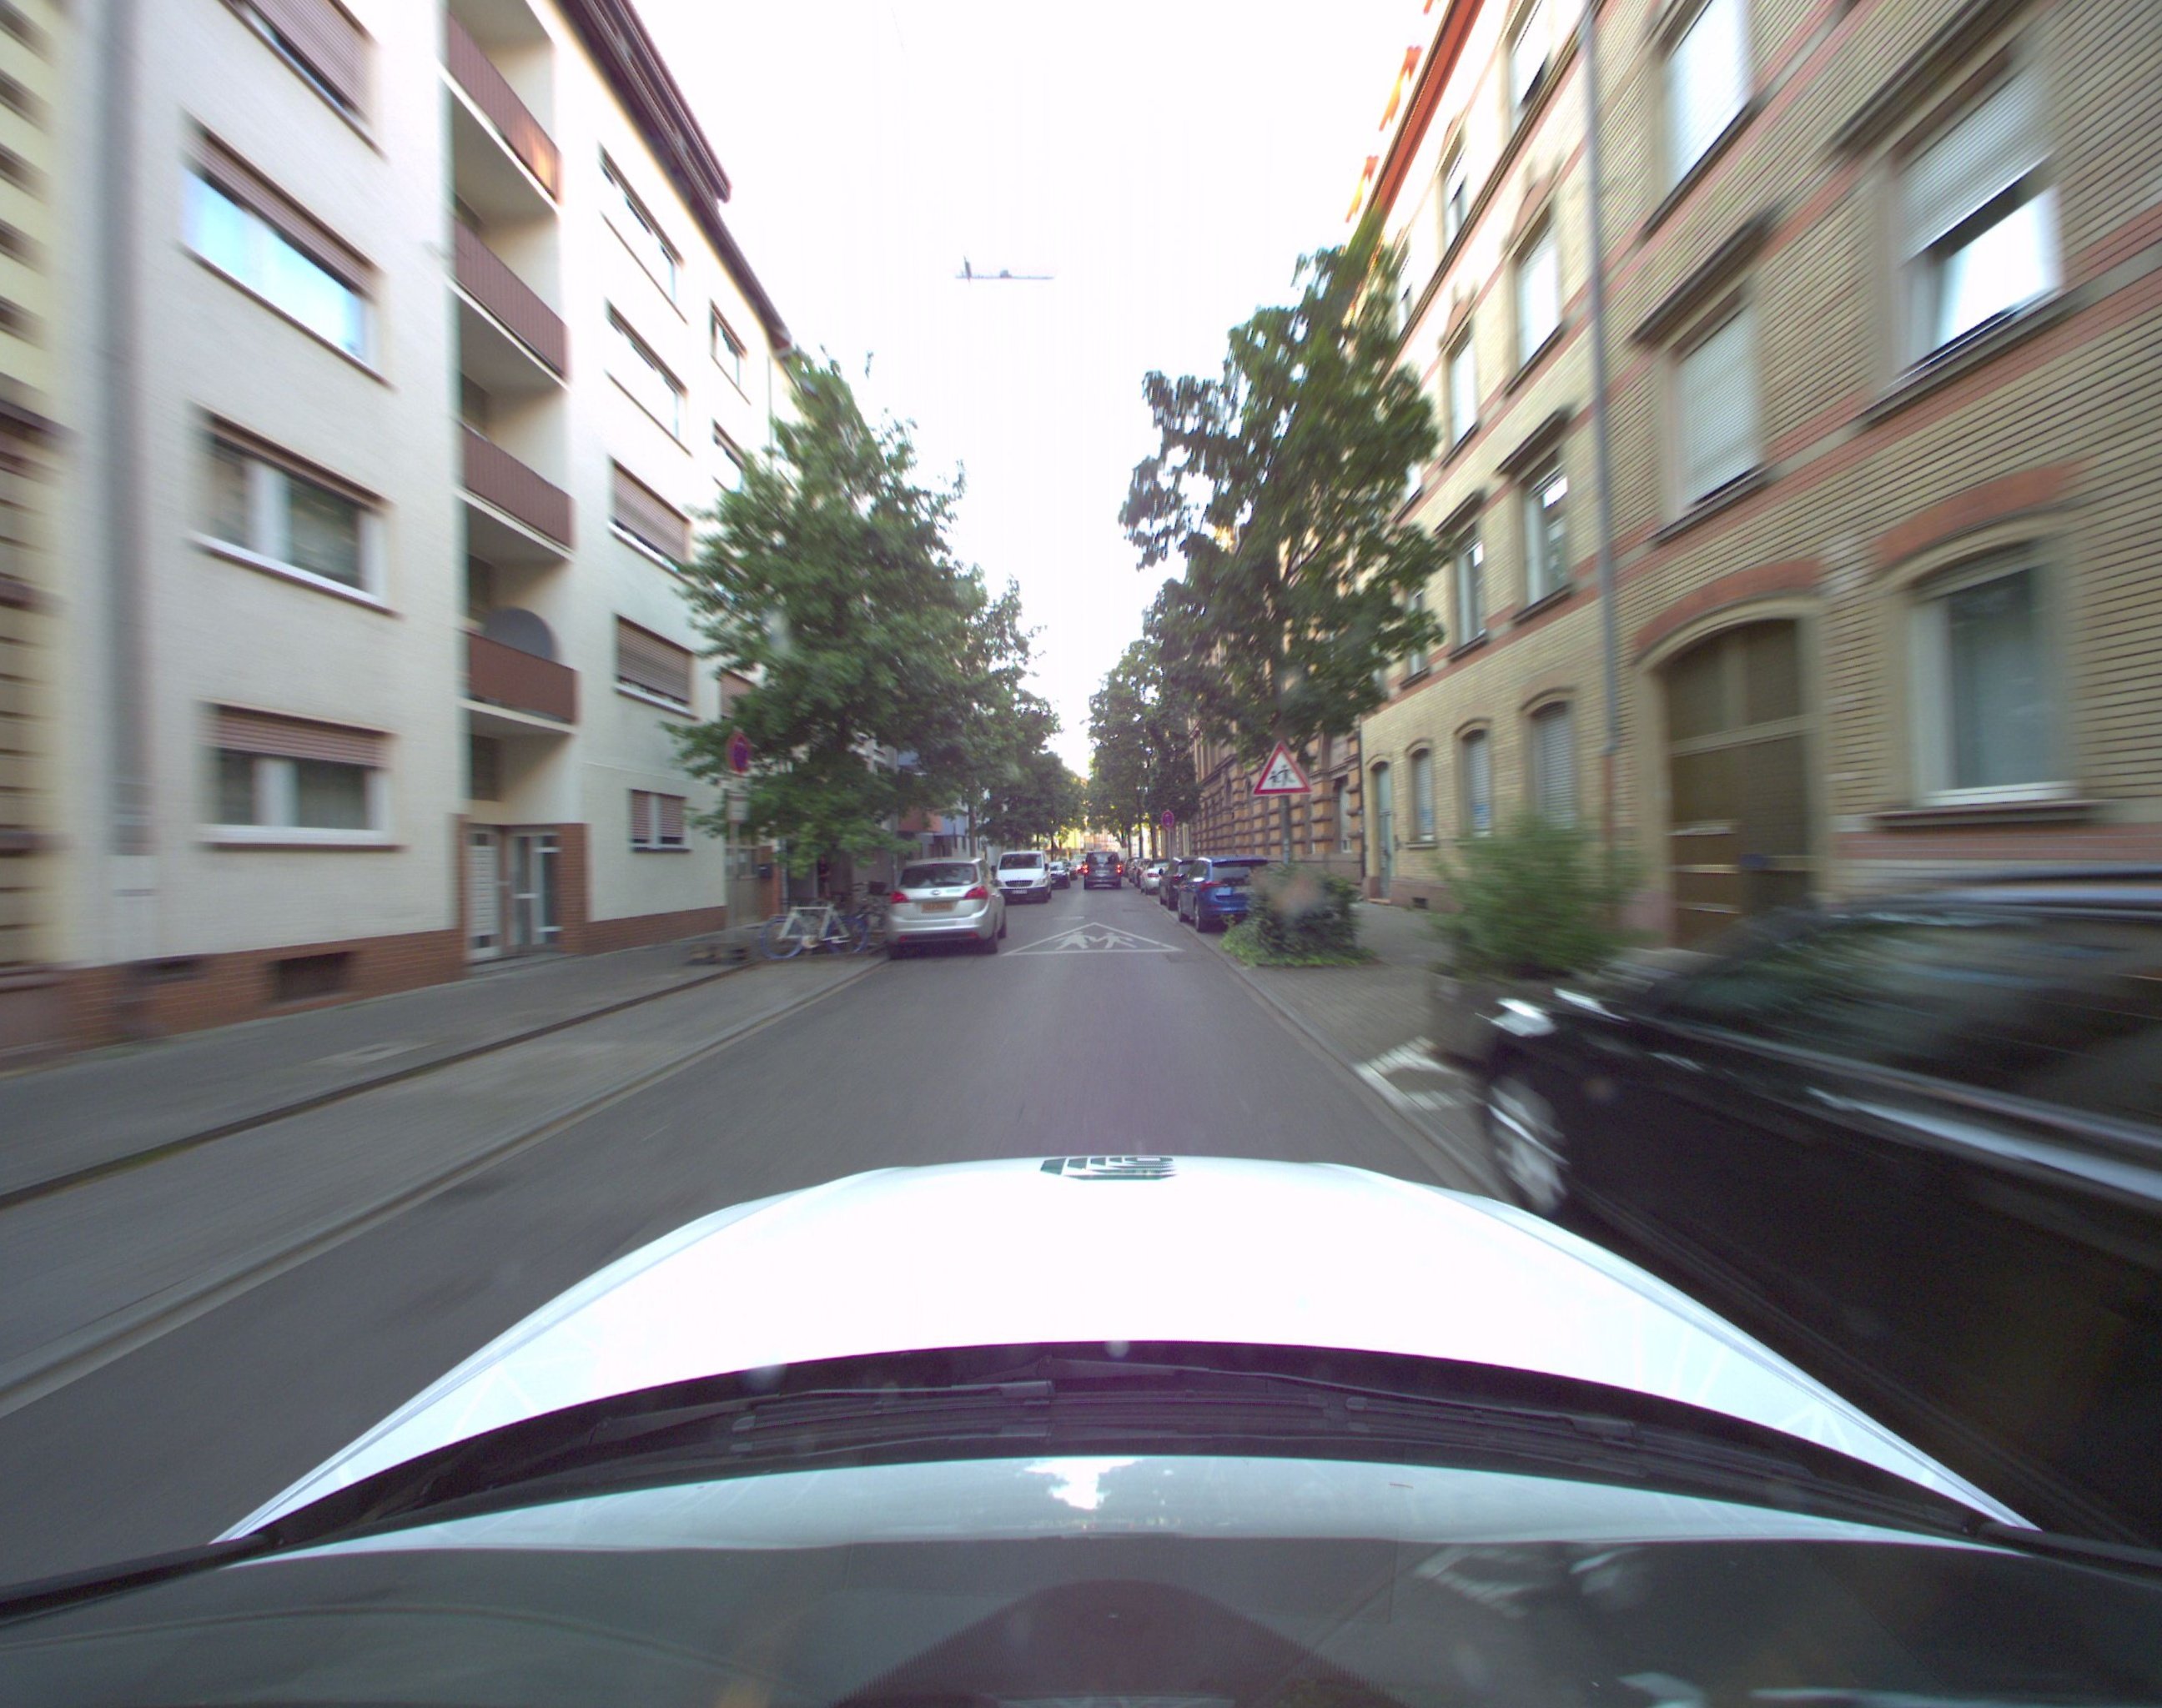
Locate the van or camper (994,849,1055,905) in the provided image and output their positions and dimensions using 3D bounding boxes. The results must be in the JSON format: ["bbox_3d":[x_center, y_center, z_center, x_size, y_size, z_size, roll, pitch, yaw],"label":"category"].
[{"bbox_3d":[-2.009,0.792,30.060,1.871,1.843,4.751,-2,0,0],"label":"van or camper"}]

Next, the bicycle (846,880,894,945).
[{"bbox_3d":[-3.923,1.062,15.226,0.418,1.103,1.665,-1,-1,1],"label":"bicycle"}]

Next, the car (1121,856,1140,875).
[{"bbox_3d":[4.225,0.938,69.181,1.544,1.496,3.614,-2,0,4],"label":"car"}]

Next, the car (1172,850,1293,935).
[{"bbox_3d":[2.987,0.698,16.859,1.623,1.466,4.244,-2,0,-1],"label":"car"}]

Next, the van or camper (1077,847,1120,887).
[{"bbox_3d":[0.951,0.635,41.749,2.027,1.897,4.274,-2,0,3],"label":"van or camper"}]

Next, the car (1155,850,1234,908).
[{"bbox_3d":[3.178,0.674,23.585,1.706,1.478,4.192,-2,0,1],"label":"car"}]

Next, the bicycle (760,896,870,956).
[{"bbox_3d":[-4.463,1.189,13.689,1.709,0.898,0.380,-1,-1,-29],"label":"bicycle"}]

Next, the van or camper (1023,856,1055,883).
[{"bbox_3d":[-2.862,1.023,56.569,1.925,1.760,4.465,1,0,0],"label":"van or camper"}]

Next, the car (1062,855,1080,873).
[{"bbox_3d":[-0.941,0.933,78.402,1.625,1.430,3.543,-3,3,0],"label":"car"}]

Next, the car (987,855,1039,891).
[{"bbox_3d":[-3.235,0.887,39.586,1.986,1.646,4.923,0,0,1],"label":"car"}]

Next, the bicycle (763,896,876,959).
[{"bbox_3d":[-4.254,1.179,13.285,1.709,0.907,0.380,-1,-1,-29],"label":"bicycle"}]

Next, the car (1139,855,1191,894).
[{"bbox_3d":[3.383,0.788,33.634,1.688,1.401,4.646,-3,0,1],"label":"car"}]

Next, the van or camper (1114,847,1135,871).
[{"bbox_3d":[4.924,0.525,92.893,1.987,2.599,5.423,-2,0,0],"label":"van or camper"}]

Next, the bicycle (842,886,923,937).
[{"bbox_3d":[-4.112,1.176,16.820,1.708,0.994,0.580,-2,0,35],"label":"bicycle"}]

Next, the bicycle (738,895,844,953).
[{"bbox_3d":[-4.996,1.187,14.066,1.669,0.898,0.380,-1,-1,-29],"label":"bicycle"}]

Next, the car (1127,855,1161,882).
[{"bbox_3d":[3.910,0.873,50.876,1.692,1.482,3.998,-4,0,-1],"label":"car"}]

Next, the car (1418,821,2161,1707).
[{"bbox_3d":[2.576,0.659,1.911,1.760,1.415,4.475,-4,0,2],"label":"car"}]

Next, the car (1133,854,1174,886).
[{"bbox_3d":[3.610,0.807,40.969,1.716,1.450,4.215,-3,-1,1],"label":"car"}]

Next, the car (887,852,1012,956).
[{"bbox_3d":[-2.236,0.793,14.796,1.659,1.563,3.997,-2,0,-2],"label":"car"}]

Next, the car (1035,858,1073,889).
[{"bbox_3d":[-1.407,1.018,44.276,1.824,1.517,4.516,-2,-1,1],"label":"car"}]

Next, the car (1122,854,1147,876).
[{"bbox_3d":[4.227,0.859,64.882,1.607,1.559,3.765,-3,0,0],"label":"car"}]

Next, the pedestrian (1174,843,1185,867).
[{"bbox_3d":[6.662,0.063,54.976,0.624,1.648,0.532,-1,-1,1],"label":"pedestrian"}]

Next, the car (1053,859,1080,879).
[{"bbox_3d":[-1.100,1.140,62.466,1.839,1.451,4.504,-1,0,2],"label":"car"}]
